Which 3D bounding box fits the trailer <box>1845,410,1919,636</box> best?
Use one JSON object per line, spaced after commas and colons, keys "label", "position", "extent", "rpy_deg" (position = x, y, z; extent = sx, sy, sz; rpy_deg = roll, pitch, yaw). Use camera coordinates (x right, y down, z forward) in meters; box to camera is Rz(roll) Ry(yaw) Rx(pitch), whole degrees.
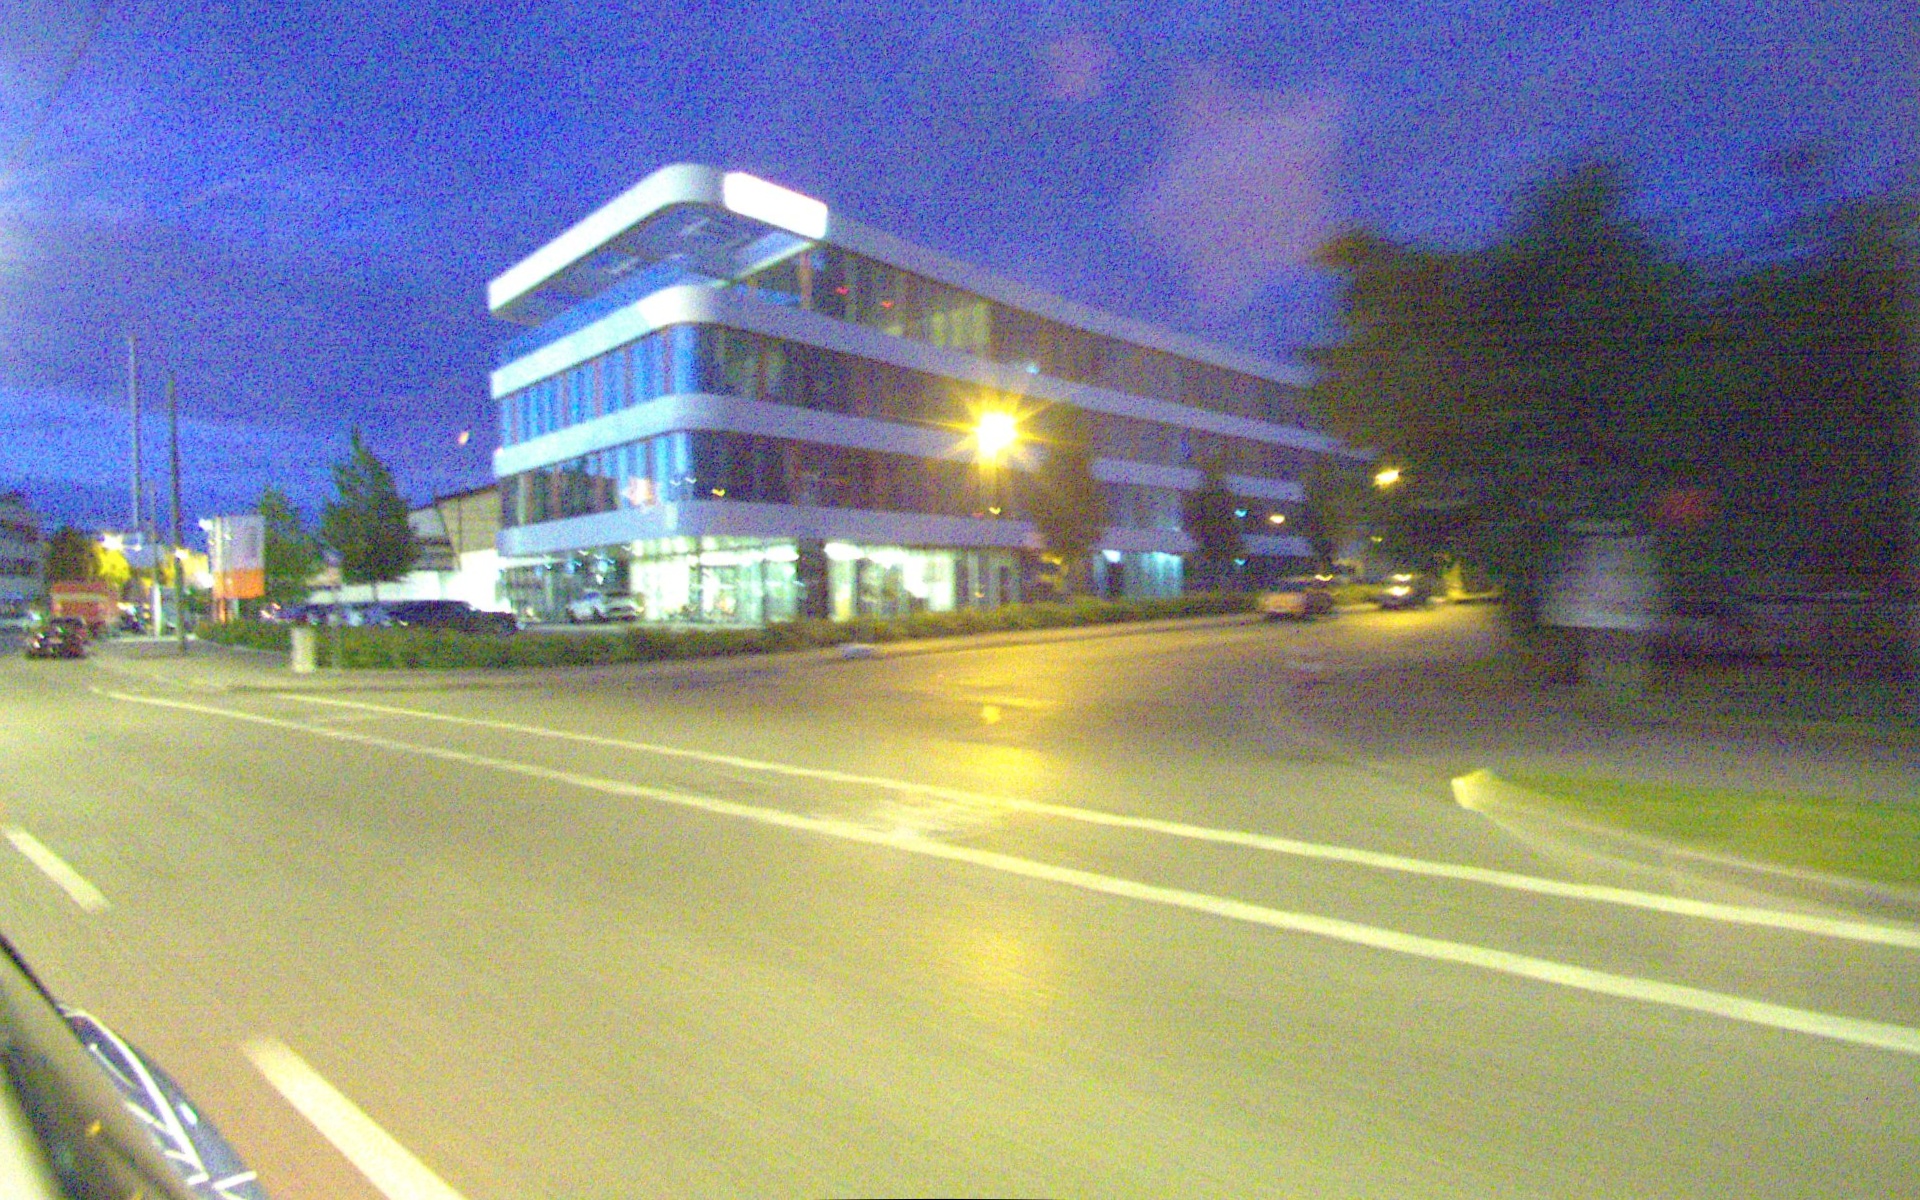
{"label": "trailer", "position": [22.942, -1.656, 14.668], "extent": [3.015, 4.390, 15.051], "rpy_deg": [-3, 1, -27]}

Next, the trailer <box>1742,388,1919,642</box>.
{"label": "trailer", "position": [19.384, -1.532, 12.866], "extent": [3.015, 4.179, 15.052], "rpy_deg": [-3, 1, -26]}

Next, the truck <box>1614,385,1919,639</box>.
{"label": "truck", "position": [16.161, -1.502, 19.524], "extent": [3.015, 4.179, 4.952], "rpy_deg": [-3, 1, -26]}

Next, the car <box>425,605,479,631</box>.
{"label": "car", "position": [-32.119, 1.173, 63.975], "extent": [1.879, 1.468, 4.470], "rpy_deg": [-4, 1, -42]}

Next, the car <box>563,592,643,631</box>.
{"label": "car", "position": [-16.830, 0.576, 47.562], "extent": [1.970, 1.654, 4.207], "rpy_deg": [-3, 1, -43]}

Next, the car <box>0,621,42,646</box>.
{"label": "car", "position": [-80.688, 2.880, 86.532], "extent": [1.965, 2.029, 4.927], "rpy_deg": [-1, 0, -27]}

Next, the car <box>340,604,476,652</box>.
{"label": "car", "position": [-21.949, 1.088, 40.359], "extent": [1.963, 1.693, 4.355], "rpy_deg": [-2, 0, 44]}

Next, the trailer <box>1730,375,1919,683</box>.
{"label": "trailer", "position": [16.611, -1.079, 9.232], "extent": [3.017, 3.962, 15.044], "rpy_deg": [-3, 1, -32]}

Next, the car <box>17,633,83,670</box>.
{"label": "car", "position": [-37.368, 2.081, 41.532], "extent": [1.793, 1.381, 4.363], "rpy_deg": [-2, 0, -44]}

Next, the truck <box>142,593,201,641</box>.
{"label": "truck", "position": [-72.631, 1.562, 93.374], "extent": [2.708, 4.064, 9.590], "rpy_deg": [-2, 0, -29]}

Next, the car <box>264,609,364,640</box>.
{"label": "car", "position": [-35.602, 1.337, 55.841], "extent": [4.353, 1.463, 1.829], "rpy_deg": [-2, 0, -44]}

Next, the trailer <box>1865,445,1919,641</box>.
{"label": "trailer", "position": [25.868, -1.425, 17.486], "extent": [3.015, 4.390, 15.051], "rpy_deg": [-3, 1, -27]}

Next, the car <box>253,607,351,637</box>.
{"label": "car", "position": [-37.240, 1.214, 57.332], "extent": [4.353, 1.493, 1.894], "rpy_deg": [-2, 0, -44]}

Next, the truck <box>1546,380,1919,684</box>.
{"label": "truck", "position": [12.401, -0.928, 15.903], "extent": [3.017, 3.962, 4.516], "rpy_deg": [-3, 1, -33]}

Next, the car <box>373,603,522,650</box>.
{"label": "car", "position": [-18.488, 0.933, 36.596], "extent": [4.394, 1.463, 2.064], "rpy_deg": [-2, 0, -41]}

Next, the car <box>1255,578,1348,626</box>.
{"label": "car", "position": [12.534, 0.048, 37.050], "extent": [1.889, 1.563, 3.947], "rpy_deg": [-2, 1, 40]}

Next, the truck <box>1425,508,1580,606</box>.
{"label": "truck", "position": [29.086, -2.177, 53.833], "extent": [12.407, 4.585, 3.581], "rpy_deg": [-2, 0, -45]}

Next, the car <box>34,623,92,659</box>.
{"label": "car", "position": [-44.688, 2.020, 50.492], "extent": [1.842, 1.605, 4.503], "rpy_deg": [-2, 0, -38]}

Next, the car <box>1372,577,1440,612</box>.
{"label": "car", "position": [19.570, -0.262, 44.336], "extent": [1.693, 1.377, 3.947], "rpy_deg": [-2, 0, 40]}

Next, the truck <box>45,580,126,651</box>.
{"label": "truck", "position": [-55.491, 1.006, 64.407], "extent": [2.735, 4.151, 9.365], "rpy_deg": [-2, 0, -34]}

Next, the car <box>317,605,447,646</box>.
{"label": "car", "position": [-23.984, 1.045, 42.110], "extent": [4.353, 1.490, 1.852], "rpy_deg": [-2, 0, -44]}

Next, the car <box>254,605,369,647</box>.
{"label": "car", "position": [-31.235, 1.228, 48.834], "extent": [4.353, 1.829, 1.964], "rpy_deg": [-1, 0, -44]}

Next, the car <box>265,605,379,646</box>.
{"label": "car", "position": [-32.230, 1.251, 51.192], "extent": [4.554, 1.829, 1.964], "rpy_deg": [-2, 0, -44]}

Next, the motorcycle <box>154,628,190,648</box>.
{"label": "motorcycle", "position": [-49.358, 2.365, 63.421], "extent": [0.528, 1.109, 1.679], "rpy_deg": [-1, 3, 24]}

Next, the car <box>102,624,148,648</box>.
{"label": "car", "position": [-63.431, 2.694, 76.950], "extent": [1.917, 1.730, 5.213], "rpy_deg": [-2, 0, -31]}

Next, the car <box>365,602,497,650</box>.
{"label": "car", "position": [-20.179, 0.963, 38.717], "extent": [4.084, 1.591, 1.843], "rpy_deg": [-2, 0, -44]}

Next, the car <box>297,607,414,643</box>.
{"label": "car", "position": [-27.345, 1.130, 45.840], "extent": [4.217, 1.404, 1.829], "rpy_deg": [-2, 0, -44]}
